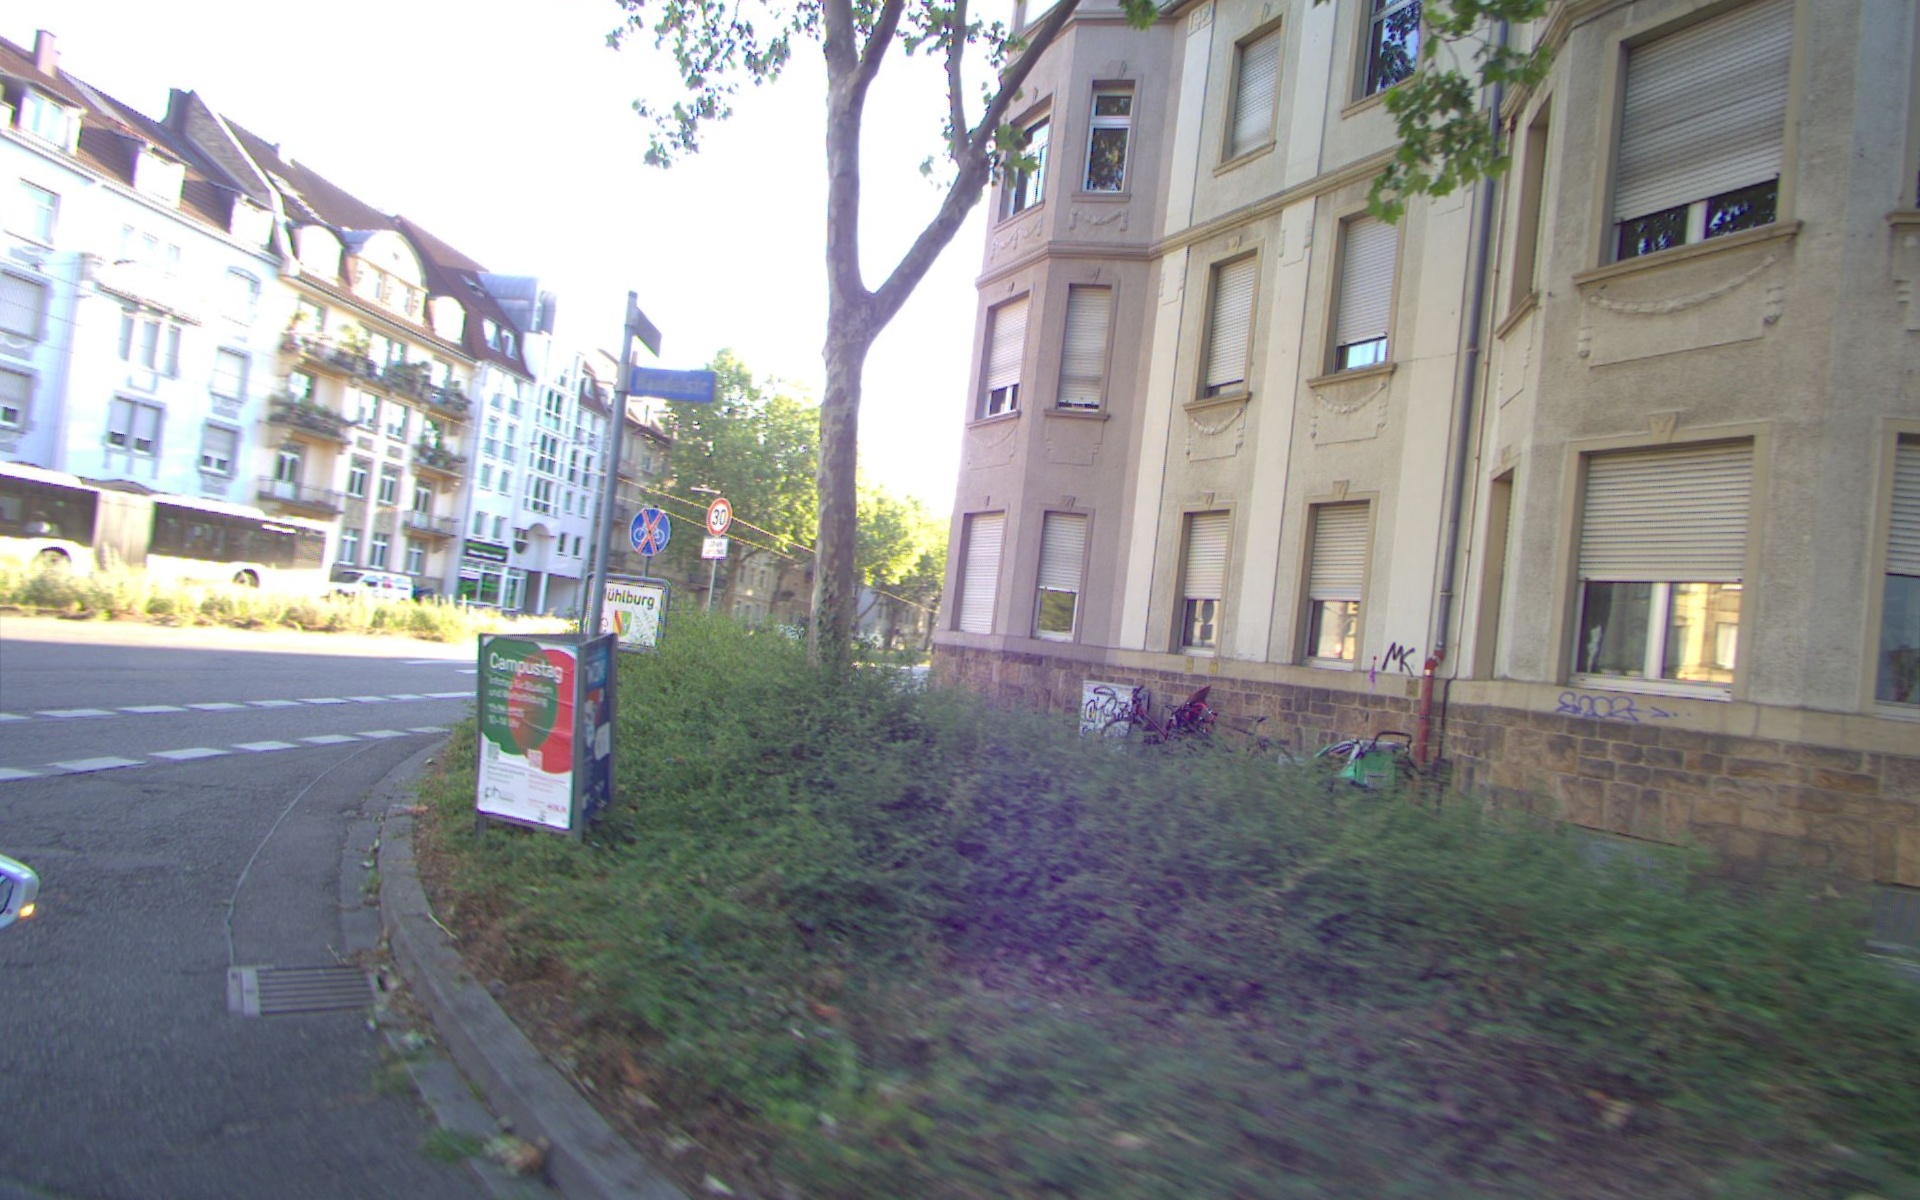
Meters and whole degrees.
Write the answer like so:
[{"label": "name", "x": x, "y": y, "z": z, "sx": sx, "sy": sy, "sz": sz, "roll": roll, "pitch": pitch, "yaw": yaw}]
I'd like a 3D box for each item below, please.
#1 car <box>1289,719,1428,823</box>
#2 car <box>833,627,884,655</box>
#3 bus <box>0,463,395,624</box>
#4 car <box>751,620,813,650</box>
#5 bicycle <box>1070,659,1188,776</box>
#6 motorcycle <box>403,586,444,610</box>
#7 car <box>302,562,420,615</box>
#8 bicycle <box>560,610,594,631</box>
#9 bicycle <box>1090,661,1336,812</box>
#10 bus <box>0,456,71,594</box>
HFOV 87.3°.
[{"label": "car", "x": 4.402, "y": 1.860, "z": 11.152, "sx": 0.916, "sy": 0.960, "sz": 1.057, "roll": 4, "pitch": -1, "yaw": -31}, {"label": "car", "x": -11.883, "y": 4.826, "z": 117.834, "sx": 5.453, "sy": 2.557, "sz": 2.110, "roll": 9, "pitch": -3, "yaw": -31}, {"label": "bus", "x": -24.994, "y": -1.485, "z": 33.717, "sx": 3.203, "sy": 3.410, "sz": 12.003, "roll": 6, "pitch": -4, "yaw": 11}, {"label": "car", "x": -16.347, "y": 3.207, "z": 92.746, "sx": 5.194, "sy": 2.089, "sz": 1.709, "roll": 9, "pitch": -3, "yaw": -31}, {"label": "bicycle", "x": 2.359, "y": 1.625, "z": 14.275, "sx": 0.367, "sy": 1.411, "sz": 1.918, "roll": 8, "pitch": -2, "yaw": -30}, {"label": "motorcycle", "x": -29.767, "y": -0.101, "z": 55.859, "sx": 0.519, "sy": 1.032, "sz": 2.424, "roll": 9, "pitch": -2, "yaw": 11}, {"label": "car", "x": -27.806, "y": -0.490, "z": 46.892, "sx": 1.874, "sy": 1.806, "sz": 4.663, "roll": 6, "pitch": -4, "yaw": 13}, {"label": "bicycle", "x": -24.624, "y": 1.327, "z": 64.737, "sx": 0.746, "sy": 1.044, "sz": 1.896, "roll": 12, "pitch": -1, "yaw": 25}, {"label": "bicycle", "x": 3.130, "y": 1.677, "z": 12.943, "sx": 0.944, "sy": 1.488, "sz": 3.133, "roll": 9, "pitch": -4, "yaw": -33}, {"label": "bus", "x": -27.021, "y": -2.484, "z": 22.922, "sx": 3.213, "sy": 3.410, "sz": 9.920, "roll": 6, "pitch": -4, "yaw": 11}]
